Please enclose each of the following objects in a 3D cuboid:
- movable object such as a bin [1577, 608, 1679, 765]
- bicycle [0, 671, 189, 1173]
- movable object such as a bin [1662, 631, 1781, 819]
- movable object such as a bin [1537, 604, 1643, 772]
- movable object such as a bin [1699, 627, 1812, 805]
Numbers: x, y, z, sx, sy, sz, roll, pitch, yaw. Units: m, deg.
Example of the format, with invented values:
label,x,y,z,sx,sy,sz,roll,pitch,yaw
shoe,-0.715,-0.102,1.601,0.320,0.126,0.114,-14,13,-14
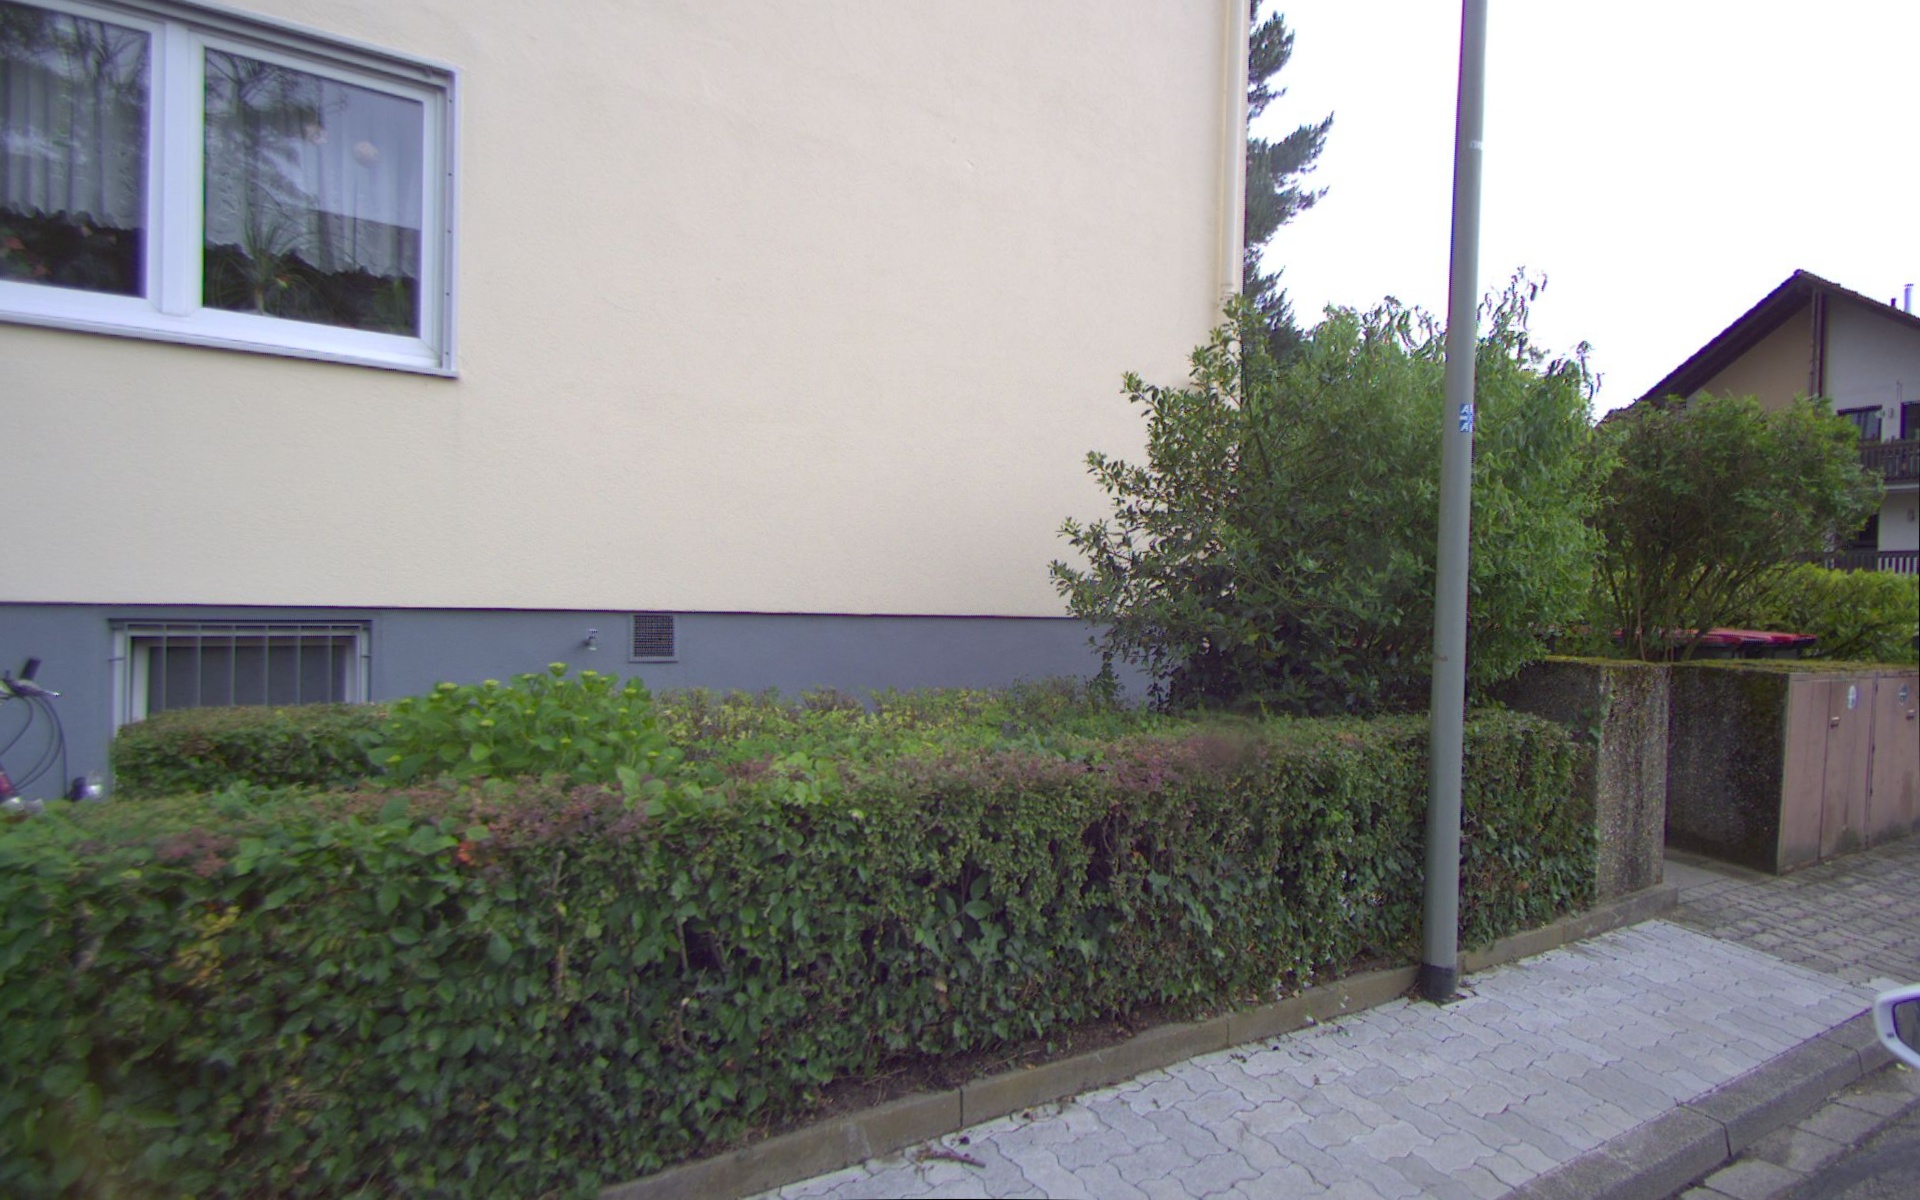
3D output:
label,x,y,z,sx,sy,sz,roll,pitch,yaw
movable object such as a bin,5.239,0.658,7.881,0.510,1.180,0.502,1,-1,-32
bicycle,-2.563,0.717,2.148,1.402,1.090,0.316,2,1,-31
movable object such as a bin,5.192,0.822,6.853,0.510,1.203,0.502,1,-1,-32
movable object such as a bin,4.725,0.636,7.538,0.510,1.203,0.502,1,-1,-32
movable object such as a bin,5.686,0.800,7.185,0.510,1.203,0.502,1,-1,-32
